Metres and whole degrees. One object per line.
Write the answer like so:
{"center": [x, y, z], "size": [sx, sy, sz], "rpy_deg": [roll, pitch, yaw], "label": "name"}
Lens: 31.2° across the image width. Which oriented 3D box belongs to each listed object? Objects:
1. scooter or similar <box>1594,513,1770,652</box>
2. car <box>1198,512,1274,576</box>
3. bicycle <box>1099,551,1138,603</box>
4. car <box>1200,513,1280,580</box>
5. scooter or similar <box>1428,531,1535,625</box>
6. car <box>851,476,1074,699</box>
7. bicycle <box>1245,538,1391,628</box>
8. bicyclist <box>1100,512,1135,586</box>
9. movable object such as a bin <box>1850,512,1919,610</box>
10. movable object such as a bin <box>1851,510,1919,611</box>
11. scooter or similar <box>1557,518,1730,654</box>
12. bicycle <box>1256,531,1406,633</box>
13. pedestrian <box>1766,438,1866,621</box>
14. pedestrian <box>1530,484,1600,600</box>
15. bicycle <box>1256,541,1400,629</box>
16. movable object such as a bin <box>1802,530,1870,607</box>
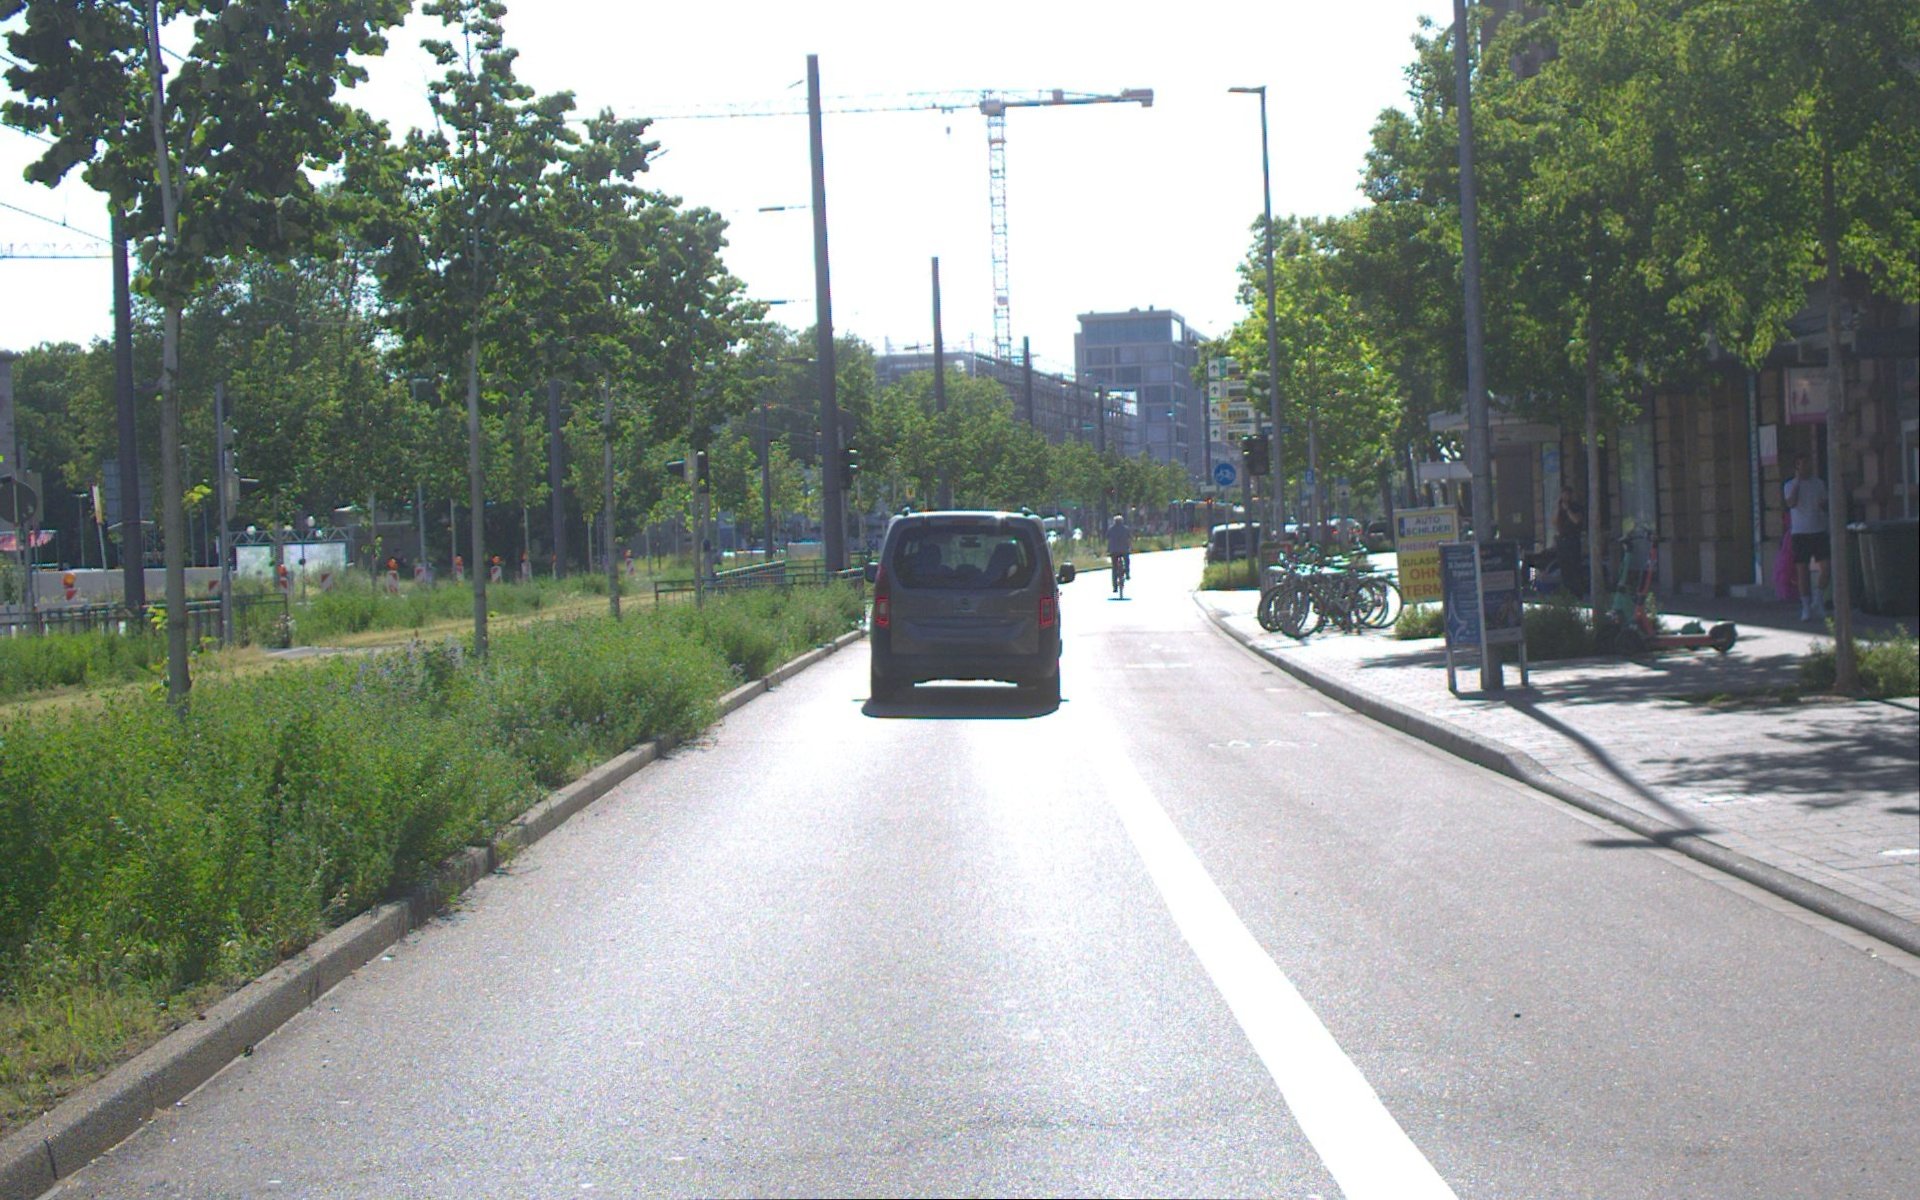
{"center": [6.927, -0.176, 33.020], "size": [1.473, 1.212, 0.602], "rpy_deg": [-4, 2, -4], "label": "scooter or similar"}
{"center": [7.659, -1.535, 95.096], "size": [2.022, 1.716, 4.118], "rpy_deg": [-1, 0, 5], "label": "car"}
{"center": [3.449, -0.516, 75.076], "size": [0.701, 1.087, 2.277], "rpy_deg": [-2, 1, -1], "label": "bicycle"}
{"center": [7.235, -1.365, 88.782], "size": [1.989, 1.632, 4.189], "rpy_deg": [-1, 0, 5], "label": "car"}
{"center": [6.631, -0.287, 43.765], "size": [1.220, 1.102, 0.783], "rpy_deg": [-3, 2, 3], "label": "scooter or similar"}
{"center": [0.089, -0.127, 33.387], "size": [1.993, 2.007, 4.000], "rpy_deg": [-1, 0, 2], "label": "car"}
{"center": [5.164, -0.248, 49.675], "size": [1.915, 1.117, 0.665], "rpy_deg": [-5, 1, -6], "label": "bicycle"}
{"center": [3.433, -1.114, 75.055], "size": [0.683, 1.579, 0.840], "rpy_deg": [-2, 1, 0], "label": "bicyclist"}
{"center": [10.631, -0.449, 39.137], "size": [0.725, 1.094, 0.748], "rpy_deg": [-2, 1, -4], "label": "movable object such as a bin"}
{"center": [10.442, -0.449, 38.369], "size": [0.725, 1.094, 0.748], "rpy_deg": [-2, 1, -4], "label": "movable object such as a bin"}
{"center": [6.713, -0.142, 33.784], "size": [1.473, 1.212, 0.602], "rpy_deg": [-4, 2, -10], "label": "scooter or similar"}
{"center": [5.028, -0.243, 46.624], "size": [1.878, 1.229, 0.500], "rpy_deg": [-5, 1, -5], "label": "bicycle"}
{"center": [9.636, -0.779, 38.719], "size": [0.817, 2.007, 1.046], "rpy_deg": [-1, -2, 0], "label": "pedestrian"}
{"center": [9.344, -0.892, 53.148], "size": [0.844, 1.736, 0.886], "rpy_deg": [-3, 0, 1], "label": "pedestrian"}
{"center": [5.154, -0.209, 48.159], "size": [1.824, 1.075, 0.665], "rpy_deg": [-5, 1, -6], "label": "bicycle"}
{"center": [10.616, -0.385, 41.671], "size": [0.604, 0.913, 0.650], "rpy_deg": [-2, 1, -4], "label": "movable object such as a bin"}
